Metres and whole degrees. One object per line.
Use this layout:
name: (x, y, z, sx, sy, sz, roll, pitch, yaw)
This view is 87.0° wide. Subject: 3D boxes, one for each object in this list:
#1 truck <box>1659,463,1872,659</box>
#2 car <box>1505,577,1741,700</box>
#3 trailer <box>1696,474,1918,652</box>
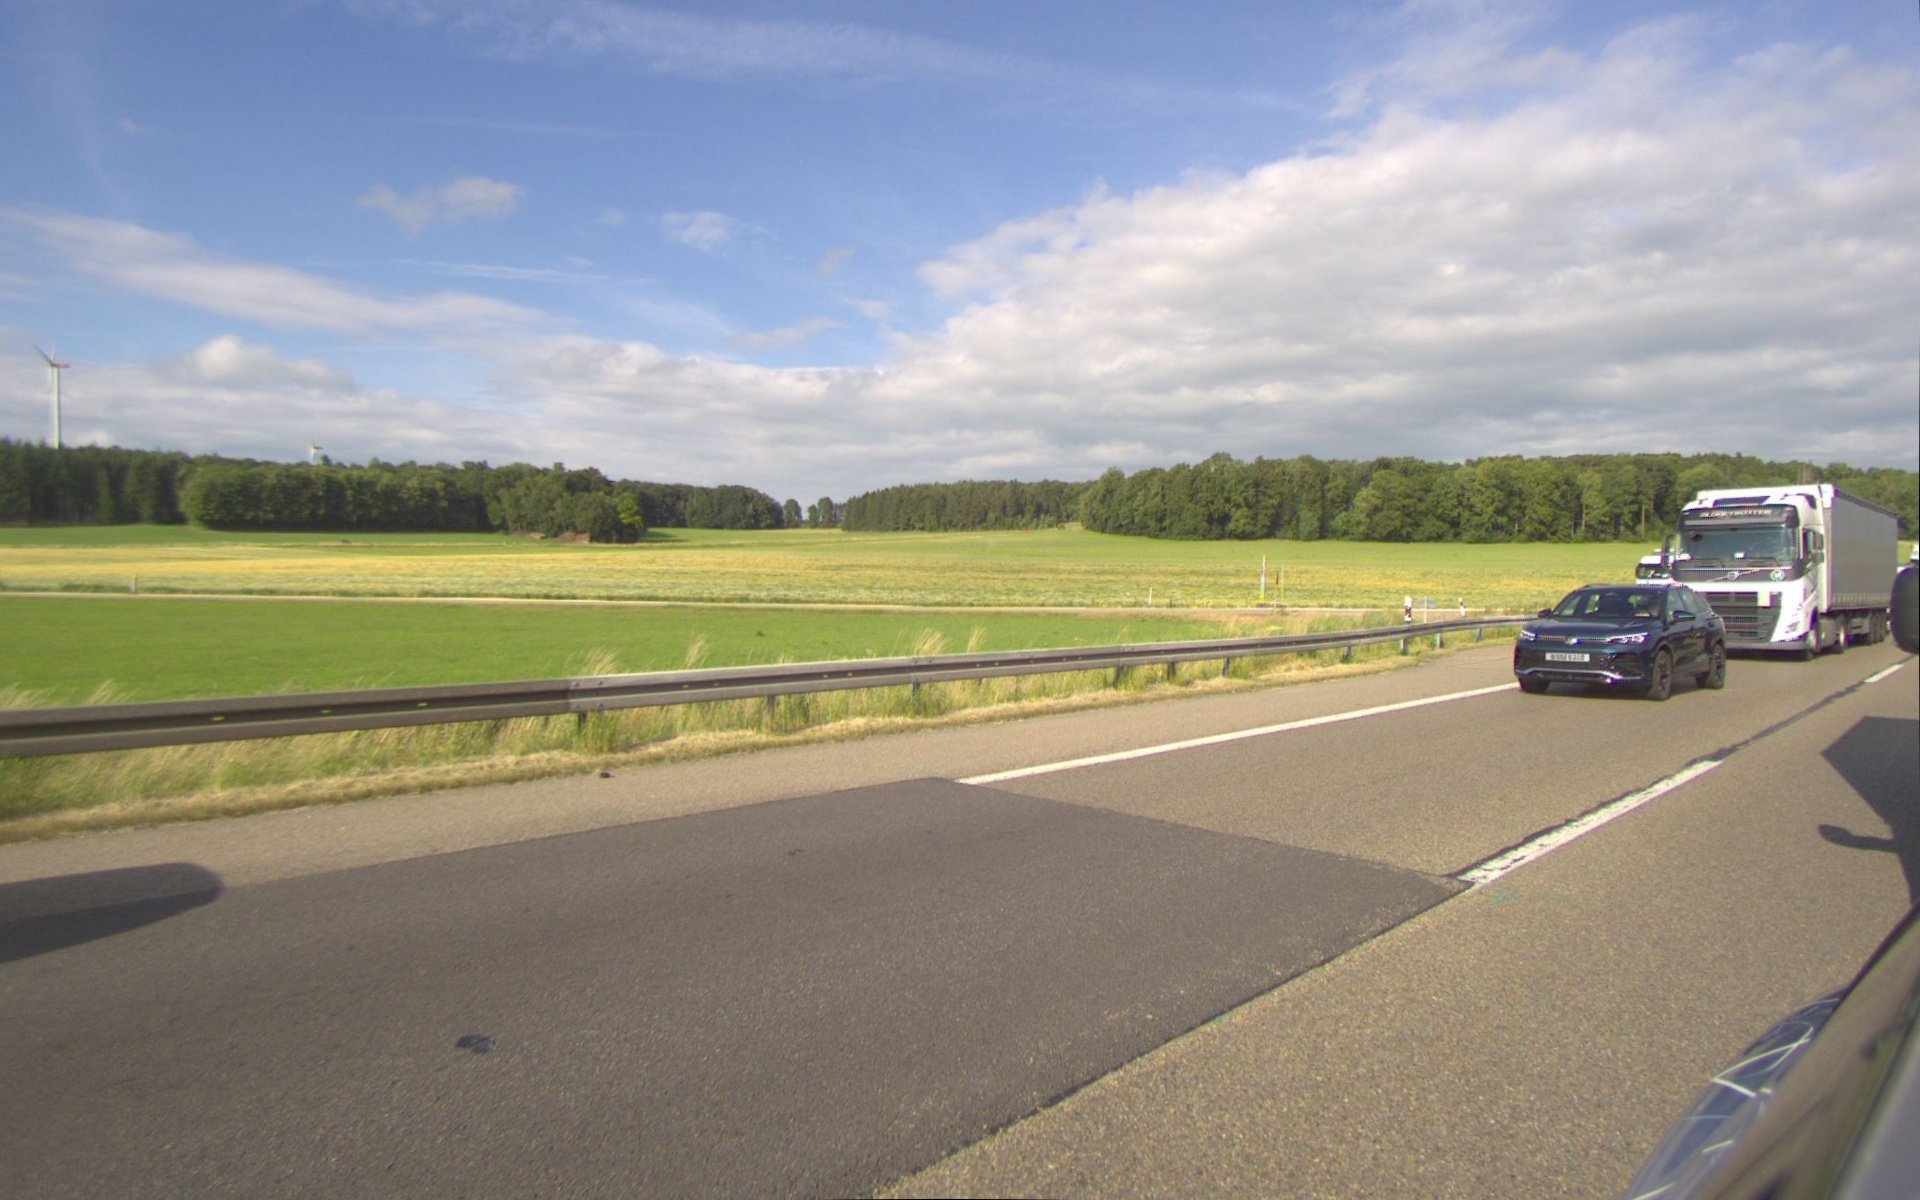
truck: (19.290, -0.840, 24.090, 6.387, 4.040, 2.840, -1, 0, -41)
car: (10.180, 0.481, 15.433, 4.047, 1.616, 1.997, -1, 1, -41)
trailer: (23.632, -0.905, 27.865, 11.916, 4.032, 2.824, -1, 0, -41)
